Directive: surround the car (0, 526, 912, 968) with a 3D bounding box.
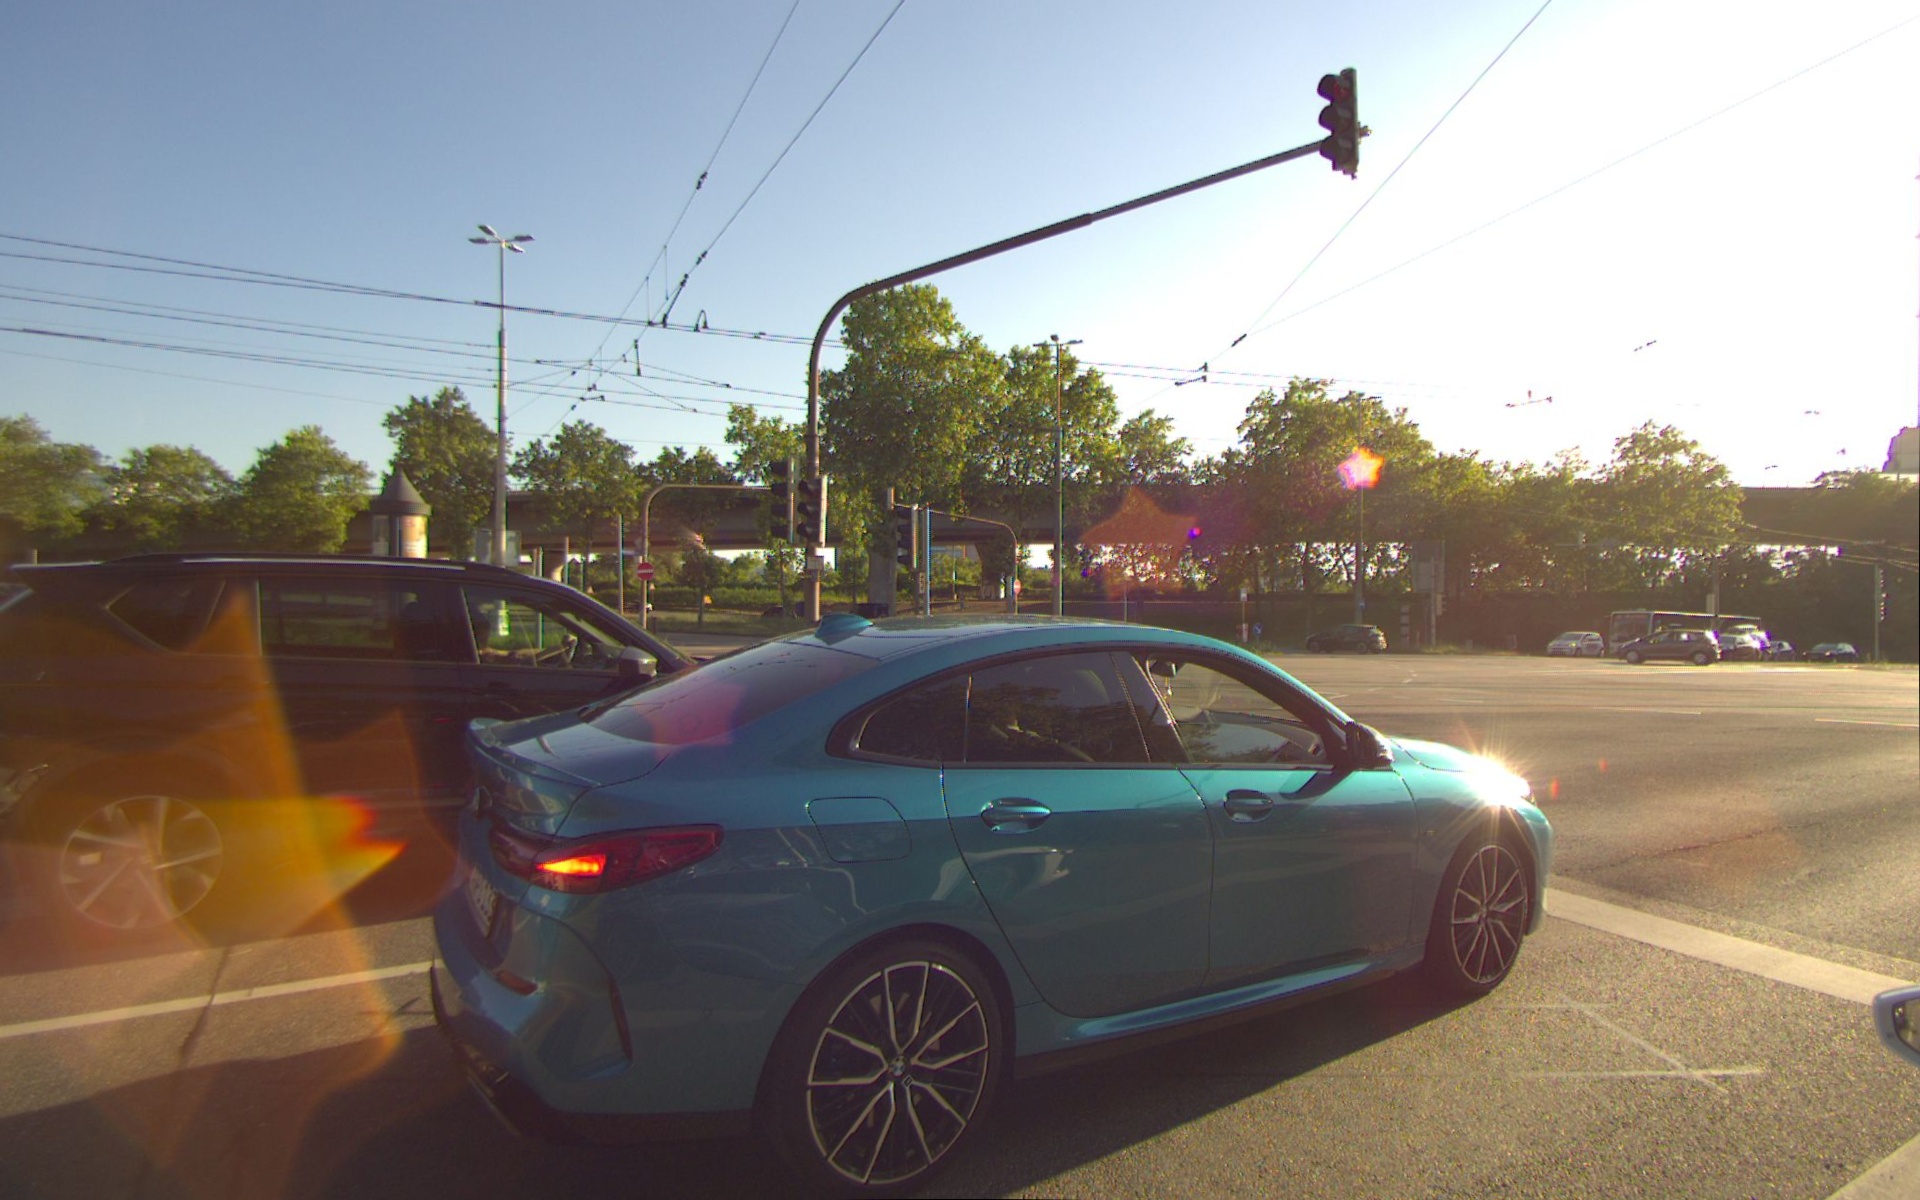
[{"bbox_3d":[-2.720,0.610,5.606,4.550,1.704,1.905,2,-1,-32],"label":"car"}]

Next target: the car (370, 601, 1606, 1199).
[{"bbox_3d":[0.403,0.775,3.798,4.465,1.436,1.774,2,-1,-33],"label":"car"}]

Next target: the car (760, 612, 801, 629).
[{"bbox_3d":[-17.042,1.900,95.052,1.982,1.473,4.485,2,-1,-38],"label":"car"}]

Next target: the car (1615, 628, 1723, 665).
[{"bbox_3d":[31.199,2.010,44.236,3.682,1.441,1.686,0,-1,44],"label":"car"}]

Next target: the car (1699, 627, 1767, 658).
[{"bbox_3d":[44.927,2.460,58.337,4.046,1.674,1.703,2,-1,-30],"label":"car"}]

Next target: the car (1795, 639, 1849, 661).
[{"bbox_3d":[60.873,3.540,70.938,3.952,1.461,1.692,2,-1,-30],"label":"car"}]

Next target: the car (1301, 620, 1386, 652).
[{"bbox_3d":[19.276,1.781,50.552,3.680,1.441,1.688,1,-1,42],"label":"car"}]

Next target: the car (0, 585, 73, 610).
[{"bbox_3d":[-58.087,-0.147,63.176,3.924,1.506,1.999,0,-1,24],"label":"car"}]

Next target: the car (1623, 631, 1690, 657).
[{"bbox_3d":[37.909,2.390,54.634,3.956,1.372,1.595,2,-1,-32],"label":"car"}]

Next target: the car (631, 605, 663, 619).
[{"bbox_3d":[-35.395,1.343,113.529,1.981,1.473,4.487,2,-1,-36],"label":"car"}]

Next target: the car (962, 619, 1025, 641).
[{"bbox_3d":[2.334,2.112,70.798,1.984,1.473,4.481,2,-1,-40],"label":"car"}]

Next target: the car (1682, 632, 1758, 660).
[{"bbox_3d":[39.646,2.373,52.387,4.046,1.372,1.703,2,-1,-30],"label":"car"}]

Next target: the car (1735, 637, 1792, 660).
[{"bbox_3d":[54.680,3.272,68.319,3.952,1.461,1.692,2,-1,-30],"label":"car"}]

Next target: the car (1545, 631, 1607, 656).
[{"bbox_3d":[35.162,2.464,57.314,3.693,1.372,1.595,2,-1,-32],"label":"car"}]

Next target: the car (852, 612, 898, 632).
[{"bbox_3d":[-7.633,1.961,89.806,1.983,1.644,4.484,2,-1,-38],"label":"car"}]

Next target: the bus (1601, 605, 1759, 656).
[{"bbox_3d":[45.447,1.928,63.177,12.693,2.993,2.811,2,-1,-28],"label":"bus"}]
